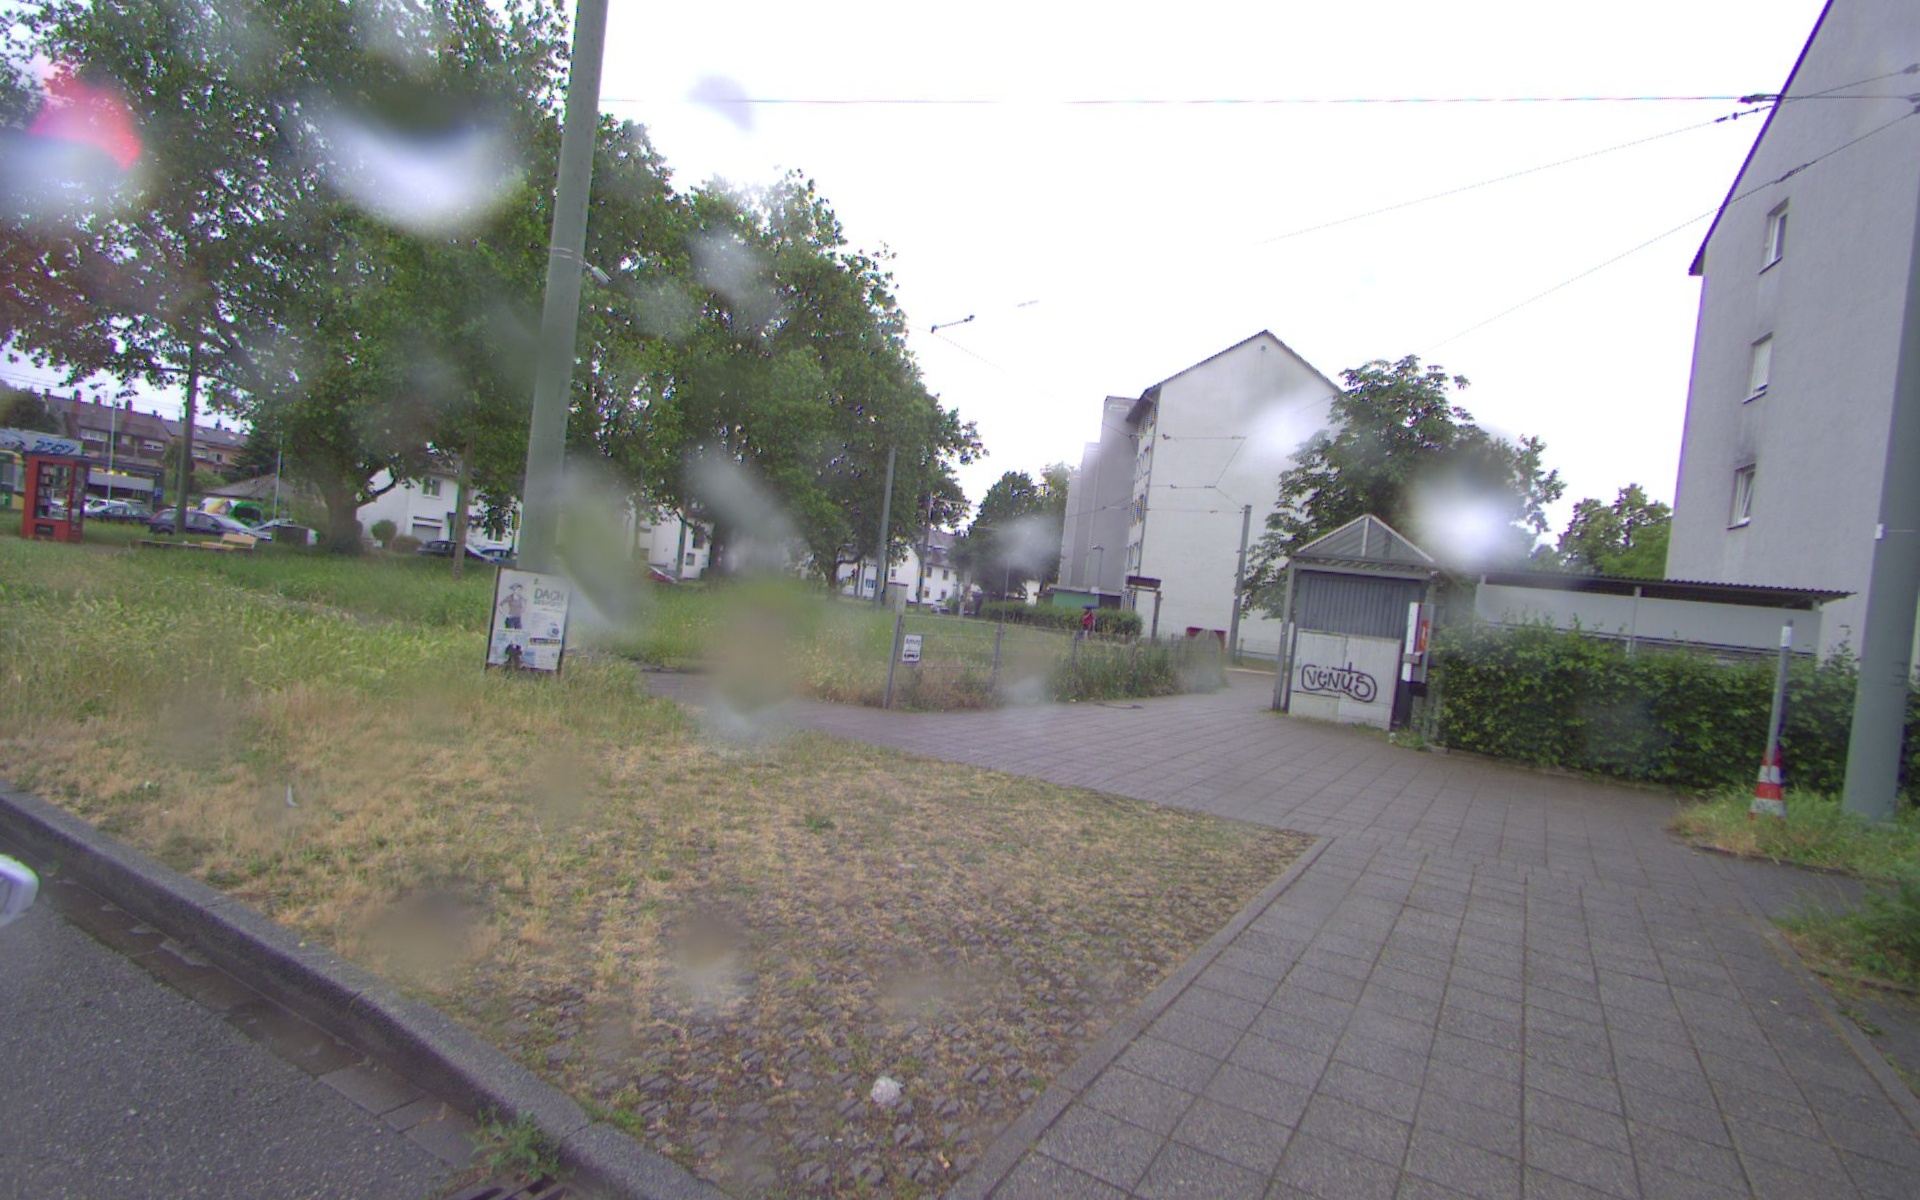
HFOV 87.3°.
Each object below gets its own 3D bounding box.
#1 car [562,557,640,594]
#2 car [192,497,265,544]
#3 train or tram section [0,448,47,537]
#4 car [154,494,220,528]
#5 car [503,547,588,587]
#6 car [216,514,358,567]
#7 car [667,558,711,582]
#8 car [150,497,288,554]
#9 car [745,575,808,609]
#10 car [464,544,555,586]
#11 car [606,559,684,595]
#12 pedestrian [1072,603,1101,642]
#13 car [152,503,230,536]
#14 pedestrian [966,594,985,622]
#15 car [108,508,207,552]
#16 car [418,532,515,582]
[{"bbox_3d":[-20.115,-1.361,56.533,3.855,1.512,1.806,8,-2,-15],"label":"car"},{"bbox_3d":[-46.748,-5.062,64.268,4.280,2.471,1.998,6,-2,31],"label":"car"},{"bbox_3d":[-42.571,-5.028,37.954,2.717,3.594,13.147,7,-2,7],"label":"train or tram section"},{"bbox_3d":[-62.075,-7.116,80.777,3.924,2.037,2.003,7,-2,14],"label":"car"},{"bbox_3d":[-21.982,-1.730,53.500,3.855,1.512,1.806,8,-2,-15],"label":"car"},{"bbox_3d":[-25.164,-2.210,37.711,1.819,1.300,3.987,6,-3,39],"label":"car"},{"bbox_3d":[-25.716,-2.803,95.525,1.859,1.679,3.692,6,-2,32],"label":"car"},{"bbox_3d":[-29.196,-2.899,39.784,3.855,1.512,1.806,8,-2,-15],"label":"car"},{"bbox_3d":[-12.746,-0.548,70.103,3.843,1.785,1.812,7,-2,0],"label":"car"},{"bbox_3d":[-22.806,-1.749,51.064,3.855,1.512,1.806,8,-2,-15],"label":"car"},{"bbox_3d":[-18.632,-1.335,59.590,3.842,1.513,1.812,7,-2,3],"label":"car"},{"bbox_3d":[5.976,1.059,47.597,0.807,1.674,0.888,6,-2,44],"label":"pedestrian"},{"bbox_3d":[-55.468,-5.772,72.605,1.816,1.658,3.995,6,-2,32],"label":"car"},{"bbox_3d":[1.067,0.543,69.474,1.022,1.811,0.818,7,-1,-3],"label":"pedestrian"},{"bbox_3d":[-43.430,-3.788,54.510,1.859,1.720,3.692,6,-2,32],"label":"car"},{"bbox_3d":[-23.734,-2.044,48.530,3.710,1.819,1.806,8,-2,-15],"label":"car"}]
